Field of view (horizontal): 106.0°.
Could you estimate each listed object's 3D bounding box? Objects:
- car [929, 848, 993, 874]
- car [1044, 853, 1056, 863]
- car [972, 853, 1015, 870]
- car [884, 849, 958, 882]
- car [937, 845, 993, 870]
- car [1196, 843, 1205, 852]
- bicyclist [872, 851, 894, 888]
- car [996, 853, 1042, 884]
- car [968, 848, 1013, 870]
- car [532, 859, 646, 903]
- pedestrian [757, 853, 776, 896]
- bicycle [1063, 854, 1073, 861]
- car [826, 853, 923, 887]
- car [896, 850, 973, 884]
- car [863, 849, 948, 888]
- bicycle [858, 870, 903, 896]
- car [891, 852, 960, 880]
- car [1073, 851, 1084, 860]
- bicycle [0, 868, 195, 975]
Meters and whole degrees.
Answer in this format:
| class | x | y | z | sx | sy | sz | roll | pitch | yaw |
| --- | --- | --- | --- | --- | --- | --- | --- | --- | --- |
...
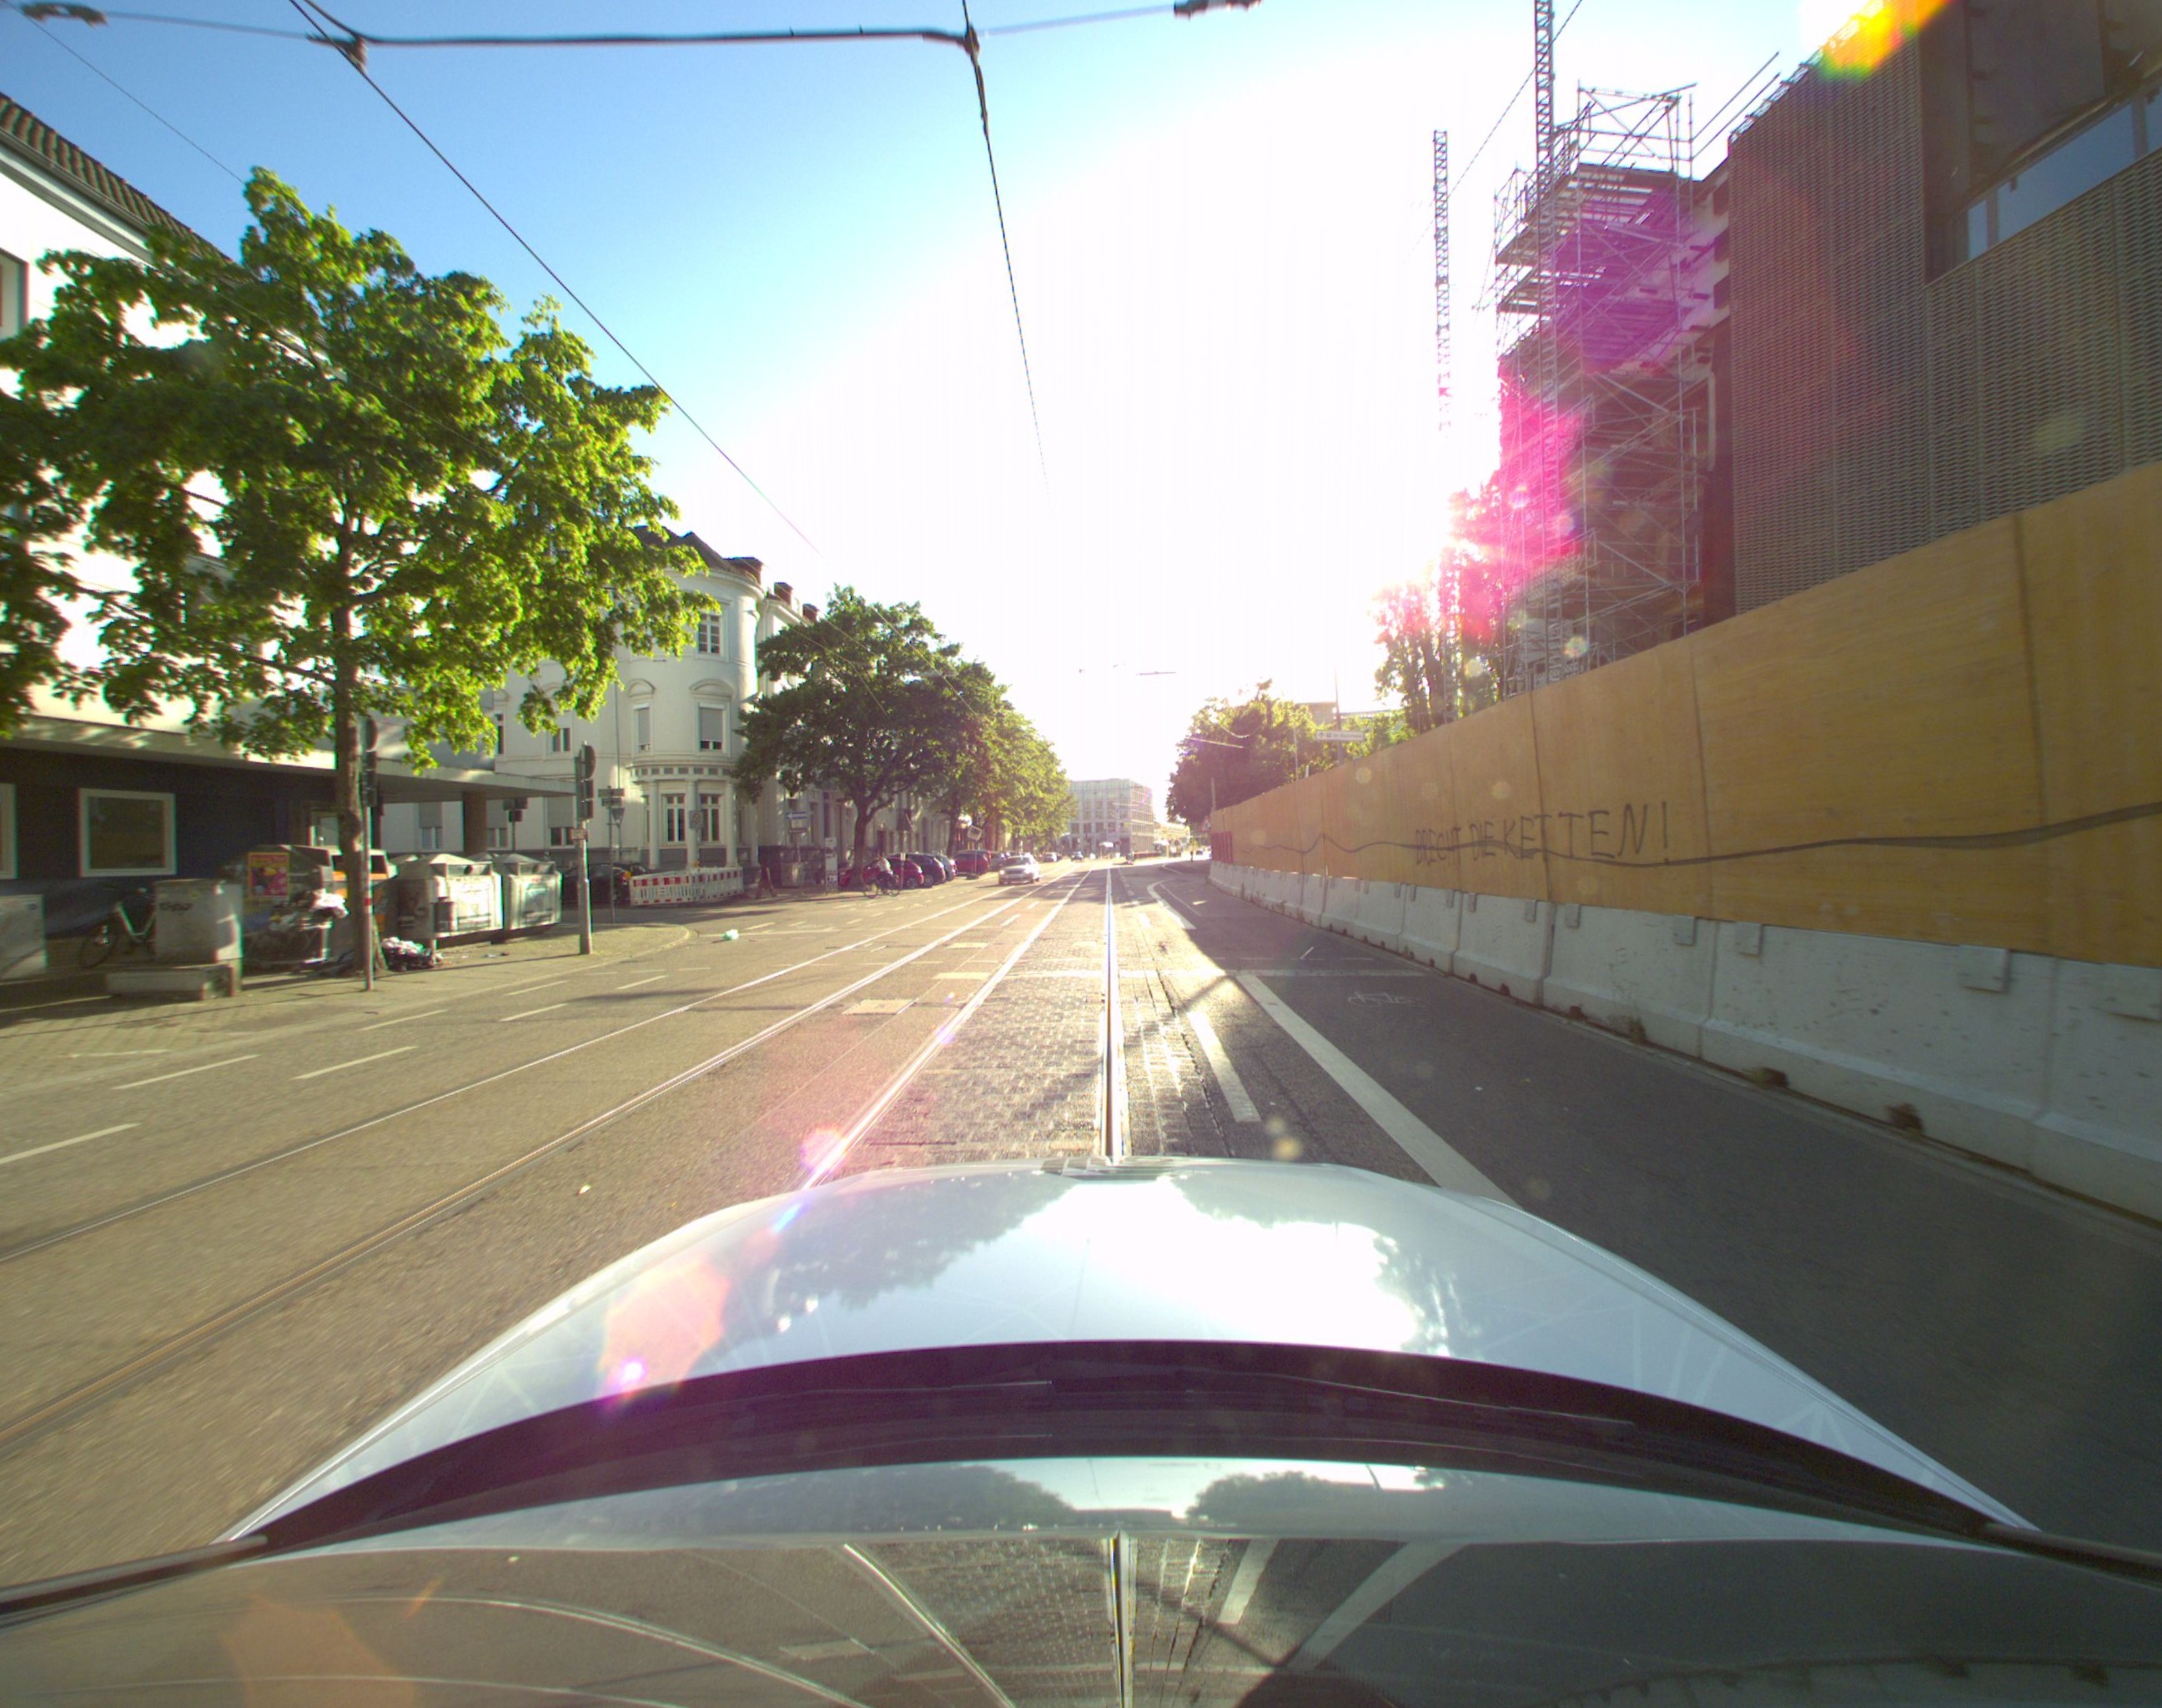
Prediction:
| class | x | y | z | sx | sy | sz | roll | pitch | yaw |
| --- | --- | --- | --- | --- | --- | --- | --- | --- | --- |
| car | -8.535 | 0.495 | 57.943 | 4.181 | 1.720 | 1.570 | -1 | 0 | -26 |
| car | -4.687 | 0.565 | 124.264 | 1.566 | 1.490 | 4.002 | -1 | 0 | 2 |
| car | -7.565 | 0.629 | 70.513 | 3.391 | 1.419 | 1.393 | -1 | 0 | -26 |
| car | -8.836 | 0.615 | 45.070 | 3.700 | 1.721 | 1.595 | -2 | 0 | -33 |
| car | -8.675 | 0.297 | 61.017 | 3.850 | 1.832 | 1.716 | 0 | -1 | -28 |
| car | 27.843 | -1.478 | 190.355 | 1.982 | 2.013 | 4.011 | -2 | 0 | 9 |
| bicyclist | -7.539 | 0.594 | 31.062 | 0.453 | 1.378 | 0.645 | -1 | 0 | 30 |
| car | -3.099 | 0.690 | 41.509 | 1.702 | 1.436 | 4.175 | -1 | 0 | 3 |
| car | -7.538 | 0.404 | 67.782 | 3.391 | 1.697 | 1.393 | -1 | 0 | -26 |
| car | -17.727 | 0.966 | 29.402 | 3.222 | 1.443 | 1.478 | -1 | 0 | 6 |
| pedestrian | -11.726 | 0.755 | 30.385 | 0.342 | 1.572 | 0.515 | -1 | 0 | 30 |
| bicycle | -2.558 | 0.691 | 158.341 | 1.791 | 1.224 | 0.598 | -1 | 0 | -7 |
| car | -9.222 | 0.700 | 36.500 | 3.927 | 1.453 | 1.622 | 0 | -1 | -32 |
| car | -7.688 | 0.652 | 42.769 | 3.579 | 1.662 | 1.720 | -1 | 0 | -31 |
| car | -8.487 | 0.668 | 39.510 | 3.700 | 1.721 | 1.595 | -2 | 0 | -33 |
| bicycle | -7.607 | 1.084 | 30.966 | 0.445 | 0.881 | 1.913 | -1 | 0 | 30 |
| car | -9.135 | 0.671 | 47.992 | 3.700 | 1.527 | 1.468 | -2 | 0 | -33 |
| car | -0.436 | 0.315 | 144.023 | 1.550 | 1.530 | 4.007 | -1 | 0 | 6 |
| bicycle | -14.037 | 0.898 | 11.715 | 0.525 | 1.344 | 2.176 | -1 | 0 | -11 |
